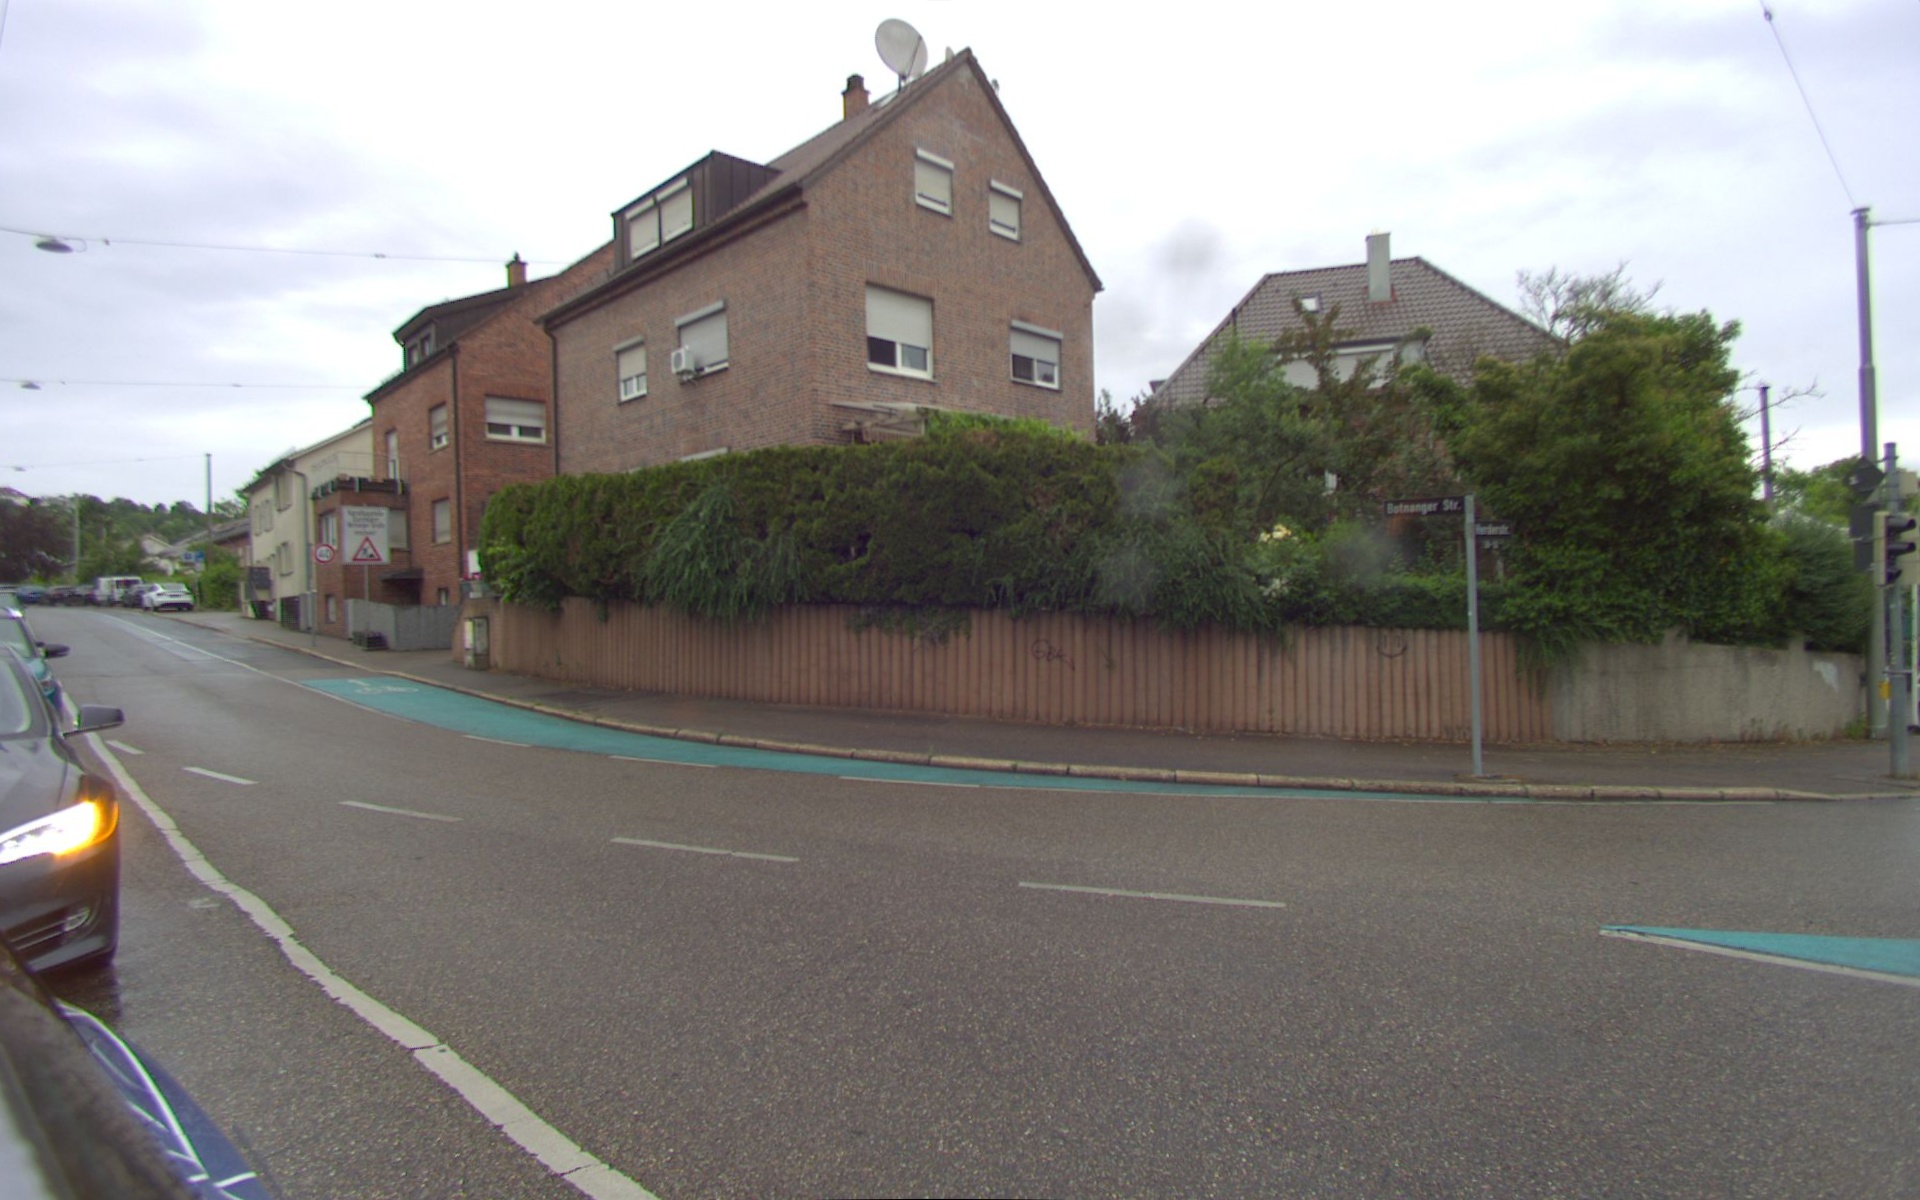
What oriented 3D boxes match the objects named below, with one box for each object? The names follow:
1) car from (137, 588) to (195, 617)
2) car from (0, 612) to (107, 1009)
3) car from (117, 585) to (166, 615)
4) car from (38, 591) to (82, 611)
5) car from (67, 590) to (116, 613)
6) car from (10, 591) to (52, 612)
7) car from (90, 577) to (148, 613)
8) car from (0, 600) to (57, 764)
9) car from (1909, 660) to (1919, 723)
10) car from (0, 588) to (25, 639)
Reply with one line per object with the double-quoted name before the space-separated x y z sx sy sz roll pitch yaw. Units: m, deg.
"car" -46.414 0.144 59.128 4.262 1.577 1.921 0 2 42
"car" -5.388 0.797 4.700 4.002 1.426 1.845 0 0 45
"car" -52.363 -0.029 64.721 4.262 1.817 1.791 0 2 42
"car" -66.506 0.100 74.755 3.854 1.407 1.635 -1 2 36
"car" -61.464 0.102 71.595 4.002 1.501 1.636 -1 2 34
"car" -70.982 0.143 77.310 3.895 1.501 1.605 -1 2 36
"car" -57.010 -0.340 68.578 4.544 2.303 2.229 0 2 41
"car" -11.061 0.805 10.908 3.785 1.601 1.765 0 0 45
"car" 25.784 2.277 24.616 1.837 1.644 4.297 -2 -3 11
"car" -35.113 0.532 36.547 4.001 1.744 1.792 -3 -2 44
